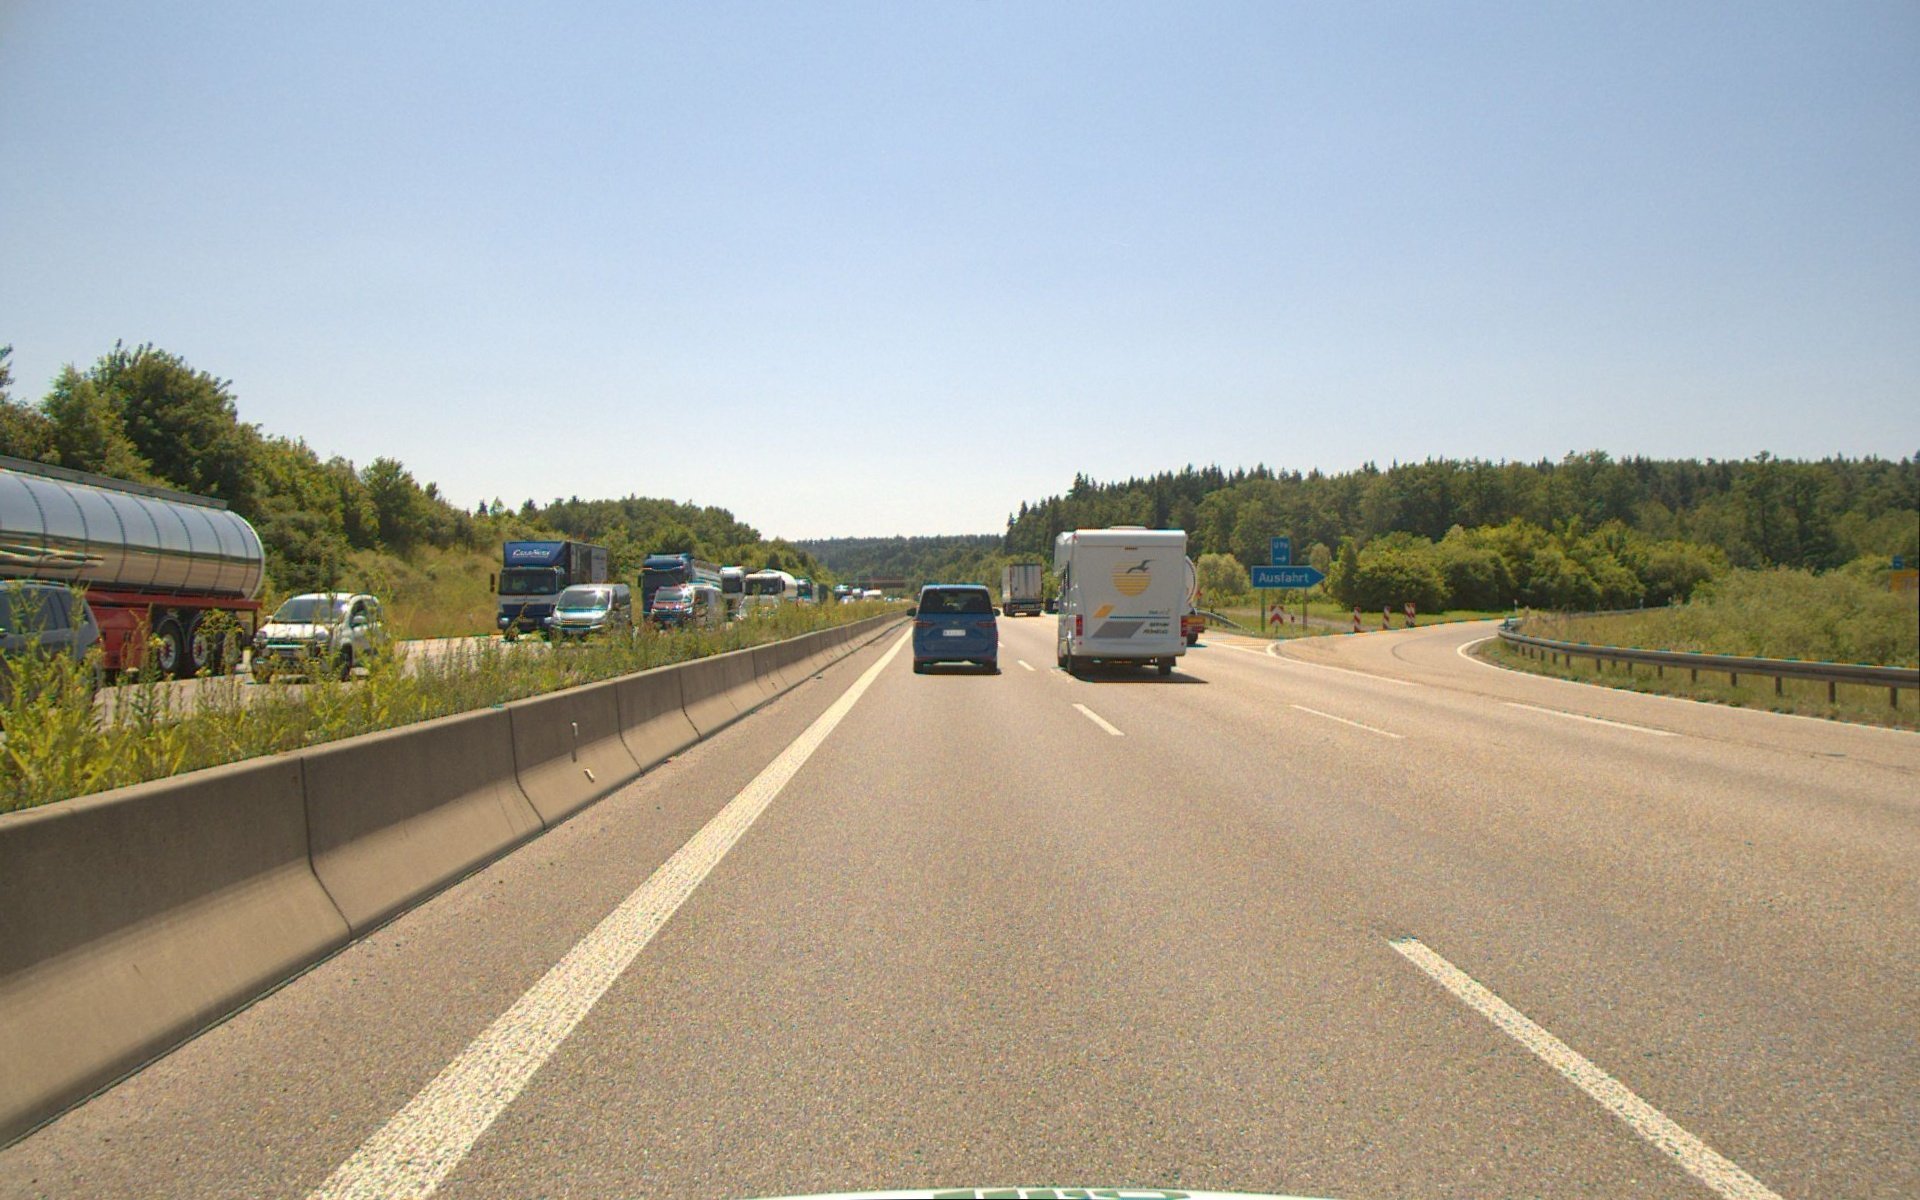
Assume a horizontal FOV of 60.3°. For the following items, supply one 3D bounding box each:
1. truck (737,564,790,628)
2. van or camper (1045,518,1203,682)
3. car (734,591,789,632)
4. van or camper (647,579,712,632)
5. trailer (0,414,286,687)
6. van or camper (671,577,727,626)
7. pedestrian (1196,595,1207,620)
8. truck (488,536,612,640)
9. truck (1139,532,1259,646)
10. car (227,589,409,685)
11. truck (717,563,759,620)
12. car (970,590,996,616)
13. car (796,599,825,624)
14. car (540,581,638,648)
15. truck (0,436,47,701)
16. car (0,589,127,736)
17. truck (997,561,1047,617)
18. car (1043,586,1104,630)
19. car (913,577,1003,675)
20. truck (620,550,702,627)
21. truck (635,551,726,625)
[{"bbox_3d":[-12.726,-0.235,107.553,2.564,3.958,7.401,-1,-1,-1],"label":"truck"},{"bbox_3d":[3.389,0.036,35.860,2.550,3.132,7.180,1,-1,-1],"label":"van or camper"},{"bbox_3d":[-8.110,0.472,67.800,1.718,1.611,4.853,0,-1,-1],"label":"car"},{"bbox_3d":[-12.243,0.254,72.557,1.953,2.191,5.953,-1,0,-1],"label":"van or camper"},{"bbox_3d":[-15.531,-0.673,28.950,2.625,4.019,12.271,-2,0,-2],"label":"trailer"},{"bbox_3d":[-12.317,0.094,78.260,1.953,2.191,4.716,-1,0,-1],"label":"van or camper"},{"bbox_3d":[20.173,0.632,138.121,0.674,2.116,0.928,1,-1,0],"label":"pedestrian"},{"bbox_3d":[-15.905,-0.394,64.935,2.493,3.739,9.935,0,-1,-1],"label":"truck"},{"bbox_3d":[8.167,-0.400,57.533,2.868,3.637,8.525,-1,1,0],"label":"truck"},{"bbox_3d":[-11.859,0.657,30.847,1.719,1.577,4.188,3,-1,-1],"label":"car"},{"bbox_3d":[-16.566,-0.569,123.714,2.045,4.099,7.876,1,-1,0],"label":"truck"},{"bbox_3d":[1.674,0.216,120.456,1.781,1.825,3.893,1,-1,-1],"label":"car"},{"bbox_3d":[-12.809,1.041,142.088,2.043,2.099,5.058,1,-1,0],"label":"car"},{"bbox_3d":[-11.565,0.459,51.872,1.982,1.992,5.093,0,-1,-1],"label":"car"},{"bbox_3d":[-15.430,-0.503,22.395,2.726,3.890,6.031,1,-1,-1],"label":"truck"},{"bbox_3d":[-11.397,0.682,18.564,1.718,1.611,4.784,0,-1,-1],"label":"car"},{"bbox_3d":[4.893,-0.821,132.397,3.416,4.243,8.639,1,-1,-1],"label":"truck"},{"bbox_3d":[4.034,0.282,59.490,1.870,1.501,3.999,0,0,-1],"label":"car"},{"bbox_3d":[-0.064,0.534,37.284,1.870,2.049,4.000,-1,1,-1],"label":"car"},{"bbox_3d":[-16.668,-0.599,92.677,3.419,4.107,6.642,1,-1,-1],"label":"truck"},{"bbox_3d":[-16.794,-0.695,100.469,3.505,4.165,12.577,0,0,-1],"label":"truck"}]
